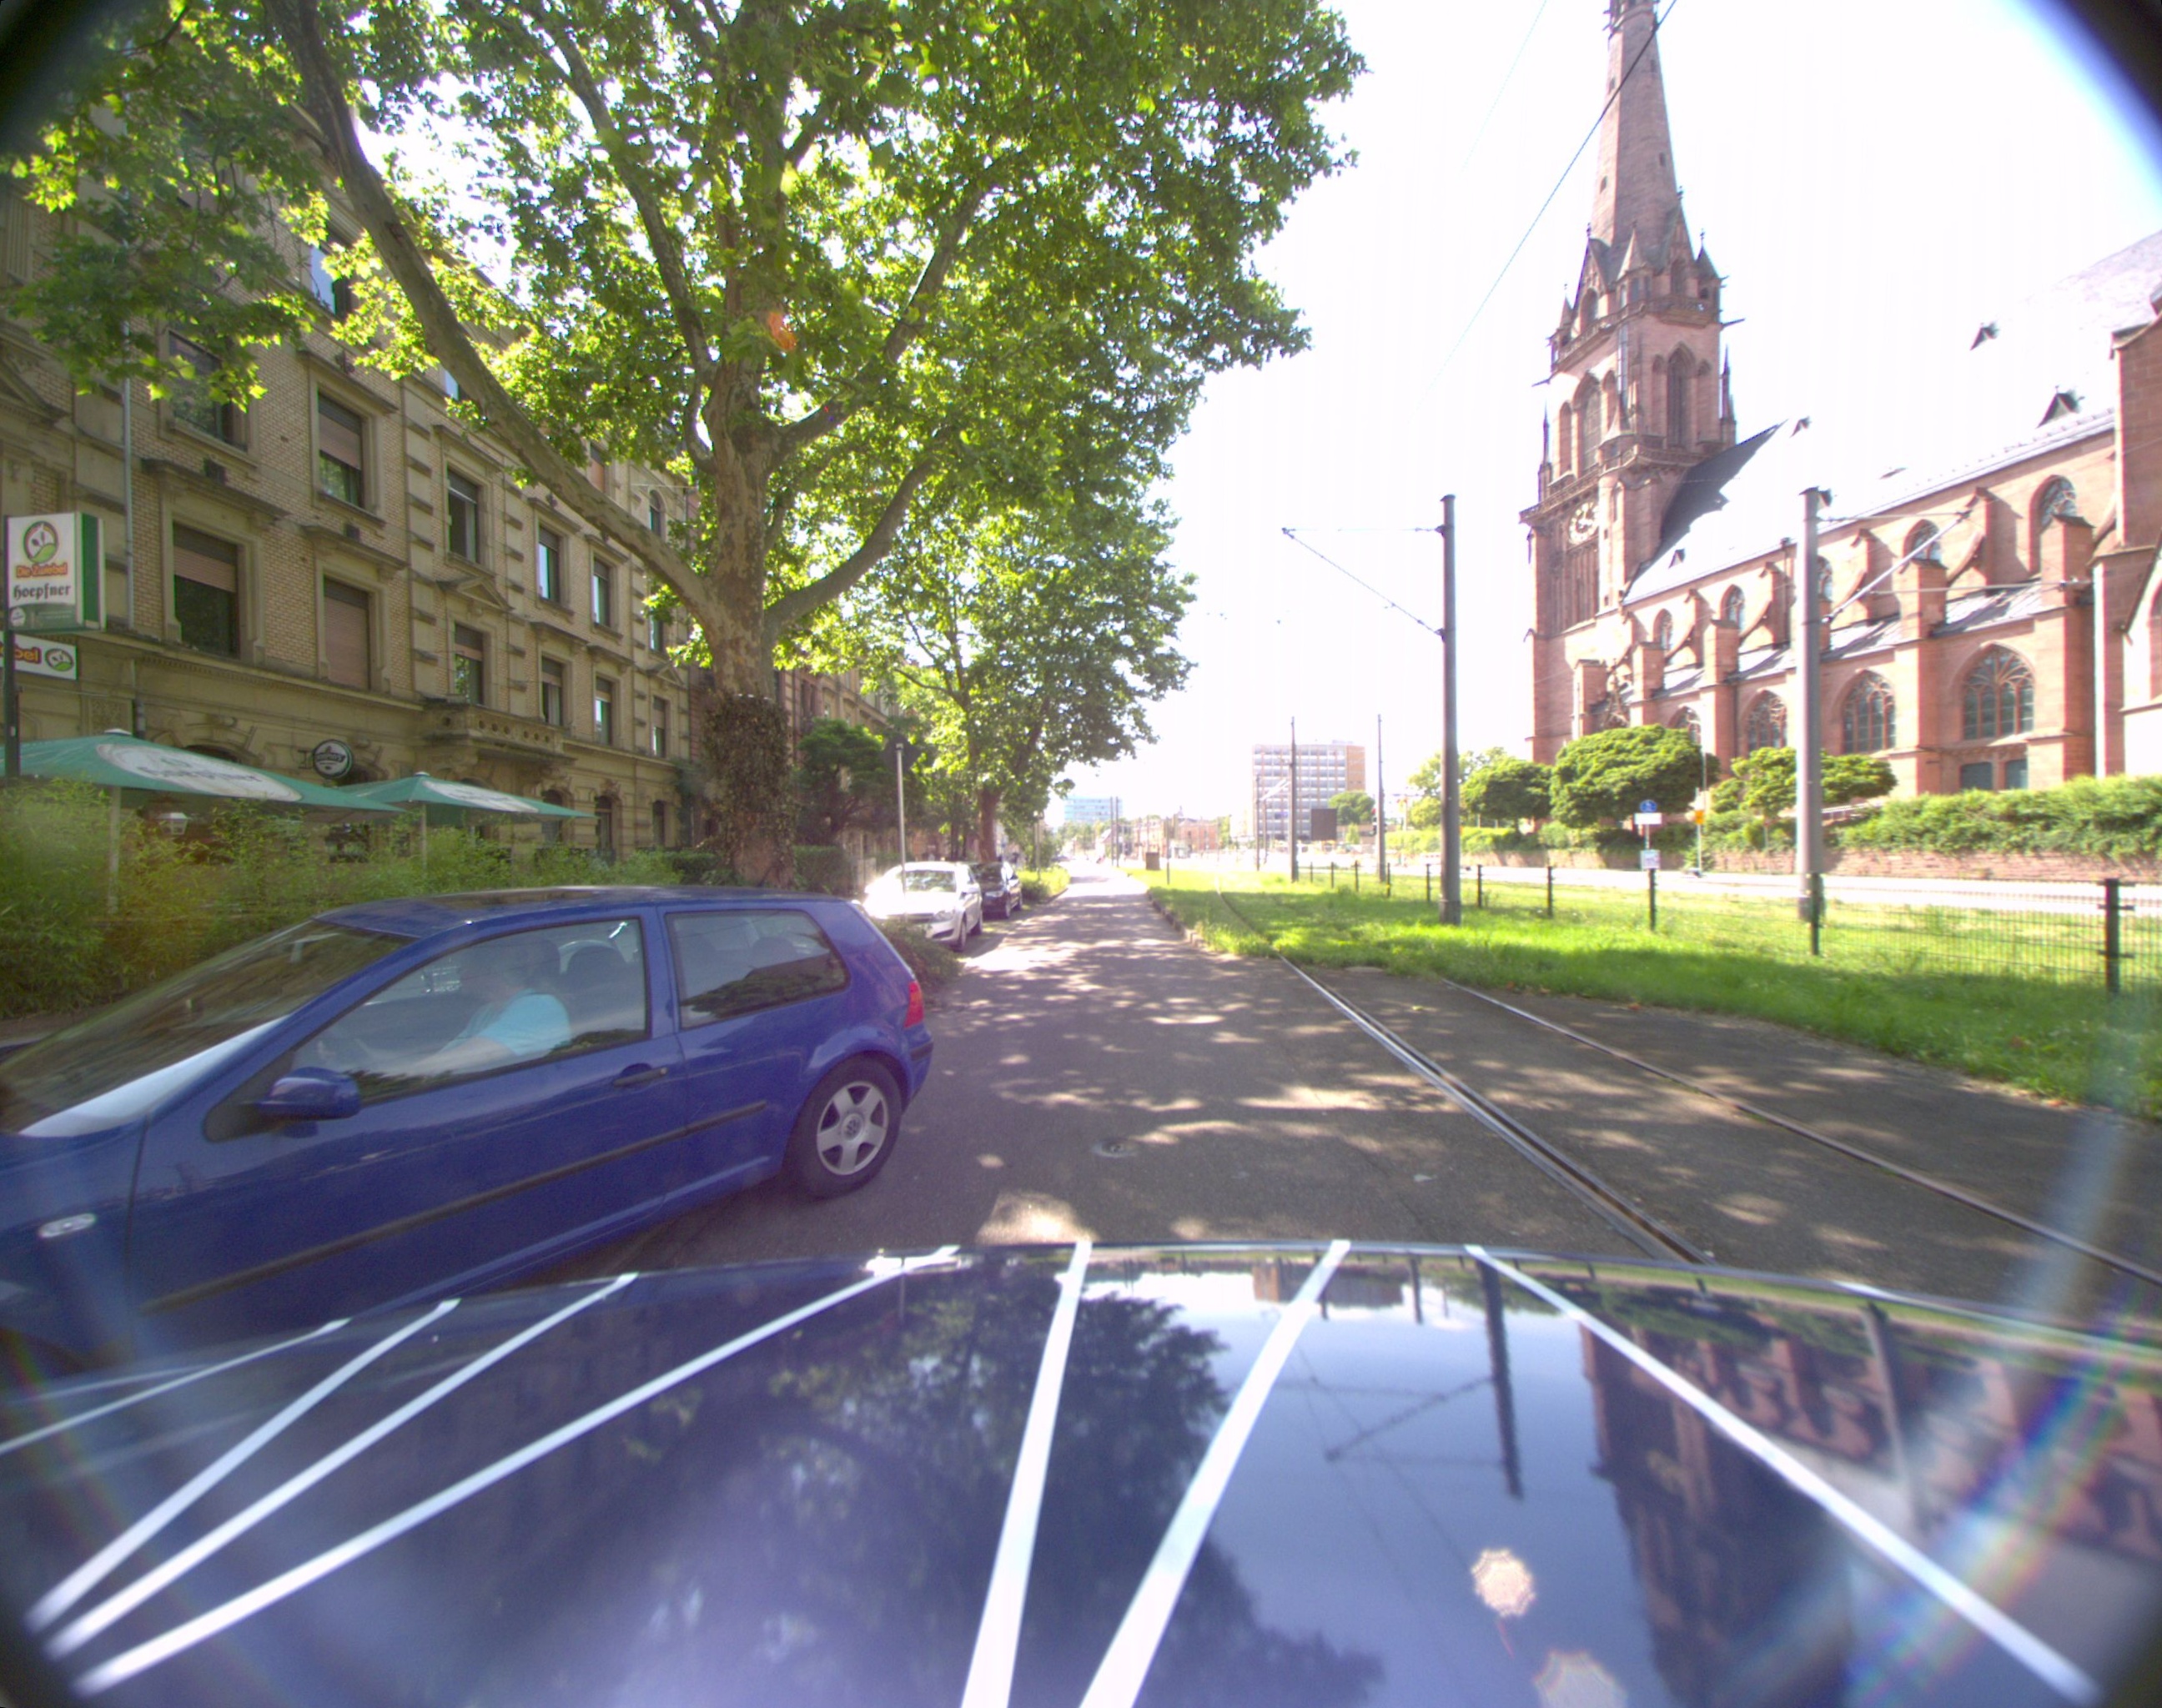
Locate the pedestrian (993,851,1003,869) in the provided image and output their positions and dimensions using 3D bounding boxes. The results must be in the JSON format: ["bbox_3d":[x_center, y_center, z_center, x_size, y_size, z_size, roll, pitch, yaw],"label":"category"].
[{"bbox_3d":[-8.002,0.612,73.570,0.797,1.708,0.967,-1,1,0],"label":"pedestrian"}]

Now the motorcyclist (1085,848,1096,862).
[{"bbox_3d":[1.346,0.166,107.243,1.109,1.919,1.331,-1,1,-16],"label":"motorcyclist"}]

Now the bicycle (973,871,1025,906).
[{"bbox_3d":[-2.690,1.111,25.082,1.641,1.082,0.470,-1,1,-32],"label":"bicycle"}]

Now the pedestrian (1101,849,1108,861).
[{"bbox_3d":[3.211,0.173,104.828,0.850,1.644,1.128,-1,1,1],"label":"pedestrian"}]

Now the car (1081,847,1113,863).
[{"bbox_3d":[2.235,0.116,103.231,3.993,2.002,2.002,-1,1,11],"label":"car"}]

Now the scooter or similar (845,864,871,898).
[{"bbox_3d":[-8.439,1.008,28.767,0.583,1.240,1.145,-1,1,1],"label":"scooter or similar"}]

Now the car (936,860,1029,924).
[{"bbox_3d":[-2.595,0.970,21.114,1.838,1.499,4.643,-1,0,1],"label":"car"}]

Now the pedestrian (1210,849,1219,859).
[{"bbox_3d":[25.097,-0.059,143.076,1.426,1.796,1.422,-1,1,-3],"label":"pedestrian"}]

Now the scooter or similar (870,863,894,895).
[{"bbox_3d":[-8.240,1.008,31.489,0.583,1.275,1.145,-1,1,3],"label":"scooter or similar"}]

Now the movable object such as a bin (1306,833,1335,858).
[{"bbox_3d":[37.718,-1.310,119.725,3.340,3.859,2.932,-1,1,-33],"label":"movable object such as a bin"}]

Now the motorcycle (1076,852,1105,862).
[{"bbox_3d":[1.376,0.391,107.248,3.940,1.331,1.243,-1,1,-17],"label":"motorcycle"}]

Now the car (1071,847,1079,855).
[{"bbox_3d":[-1.639,-0.719,202.363,1.998,2.002,4.000,-1,0,1],"label":"car"}]

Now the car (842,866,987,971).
[{"bbox_3d":[-2.833,1.025,13.954,1.838,1.499,4.490,-1,0,-3],"label":"car"}]

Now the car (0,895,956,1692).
[{"bbox_3d":[-2.538,0.982,2.742,1.883,1.401,4.101,-1,0,31],"label":"car"}]

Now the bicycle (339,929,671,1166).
[{"bbox_3d":[-3.556,1.113,4.857,0.421,1.099,1.619,-1,1,33],"label":"bicycle"}]
